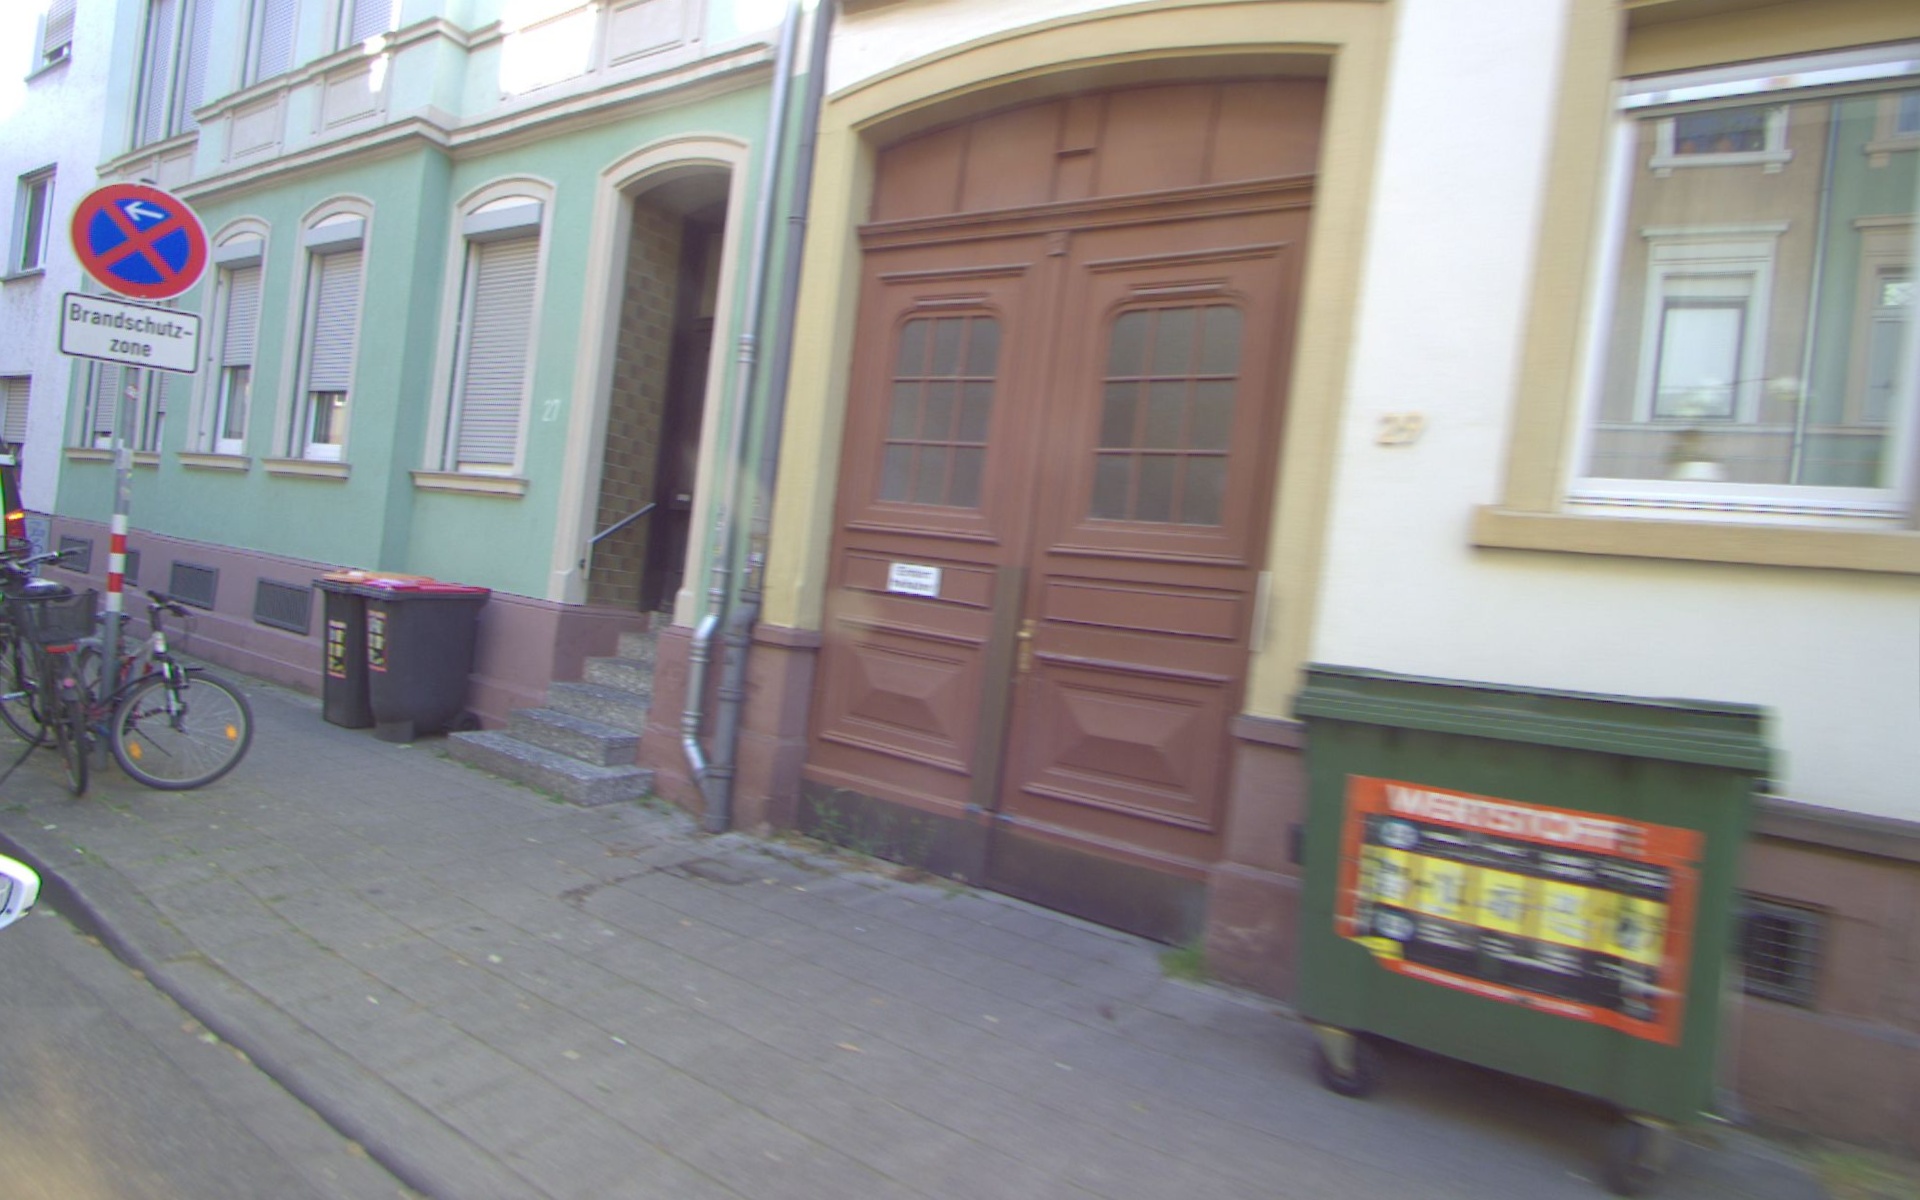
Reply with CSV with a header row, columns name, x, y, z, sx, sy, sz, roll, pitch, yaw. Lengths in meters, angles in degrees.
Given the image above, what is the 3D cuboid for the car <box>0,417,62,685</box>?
name,x,y,z,sx,sy,sz,roll,pitch,yaw
car,-9.489,-0.635,8.092,5.508,1.910,1.982,7,4,33

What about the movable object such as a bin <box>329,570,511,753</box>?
name,x,y,z,sx,sy,sz,roll,pitch,yaw
movable object such as a bin,-3.638,0.409,6.801,0.632,1.109,0.797,6,0,35

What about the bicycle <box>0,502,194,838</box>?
name,x,y,z,sx,sy,sz,roll,pitch,yaw
bicycle,-4.574,0.227,5.001,2.165,1.338,0.574,7,2,37

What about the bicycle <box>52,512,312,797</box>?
name,x,y,z,sx,sy,sz,roll,pitch,yaw
bicycle,-4.485,0.224,5.725,2.165,1.288,0.574,7,3,37

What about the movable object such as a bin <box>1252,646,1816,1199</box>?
name,x,y,z,sx,sy,sz,roll,pitch,yaw
movable object such as a bin,1.734,0.909,3.194,1.276,1.408,0.837,5,2,32

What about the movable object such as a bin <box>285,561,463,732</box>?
name,x,y,z,sx,sy,sz,roll,pitch,yaw
movable object such as a bin,-4.173,0.333,7.182,0.663,1.102,0.813,6,0,35
